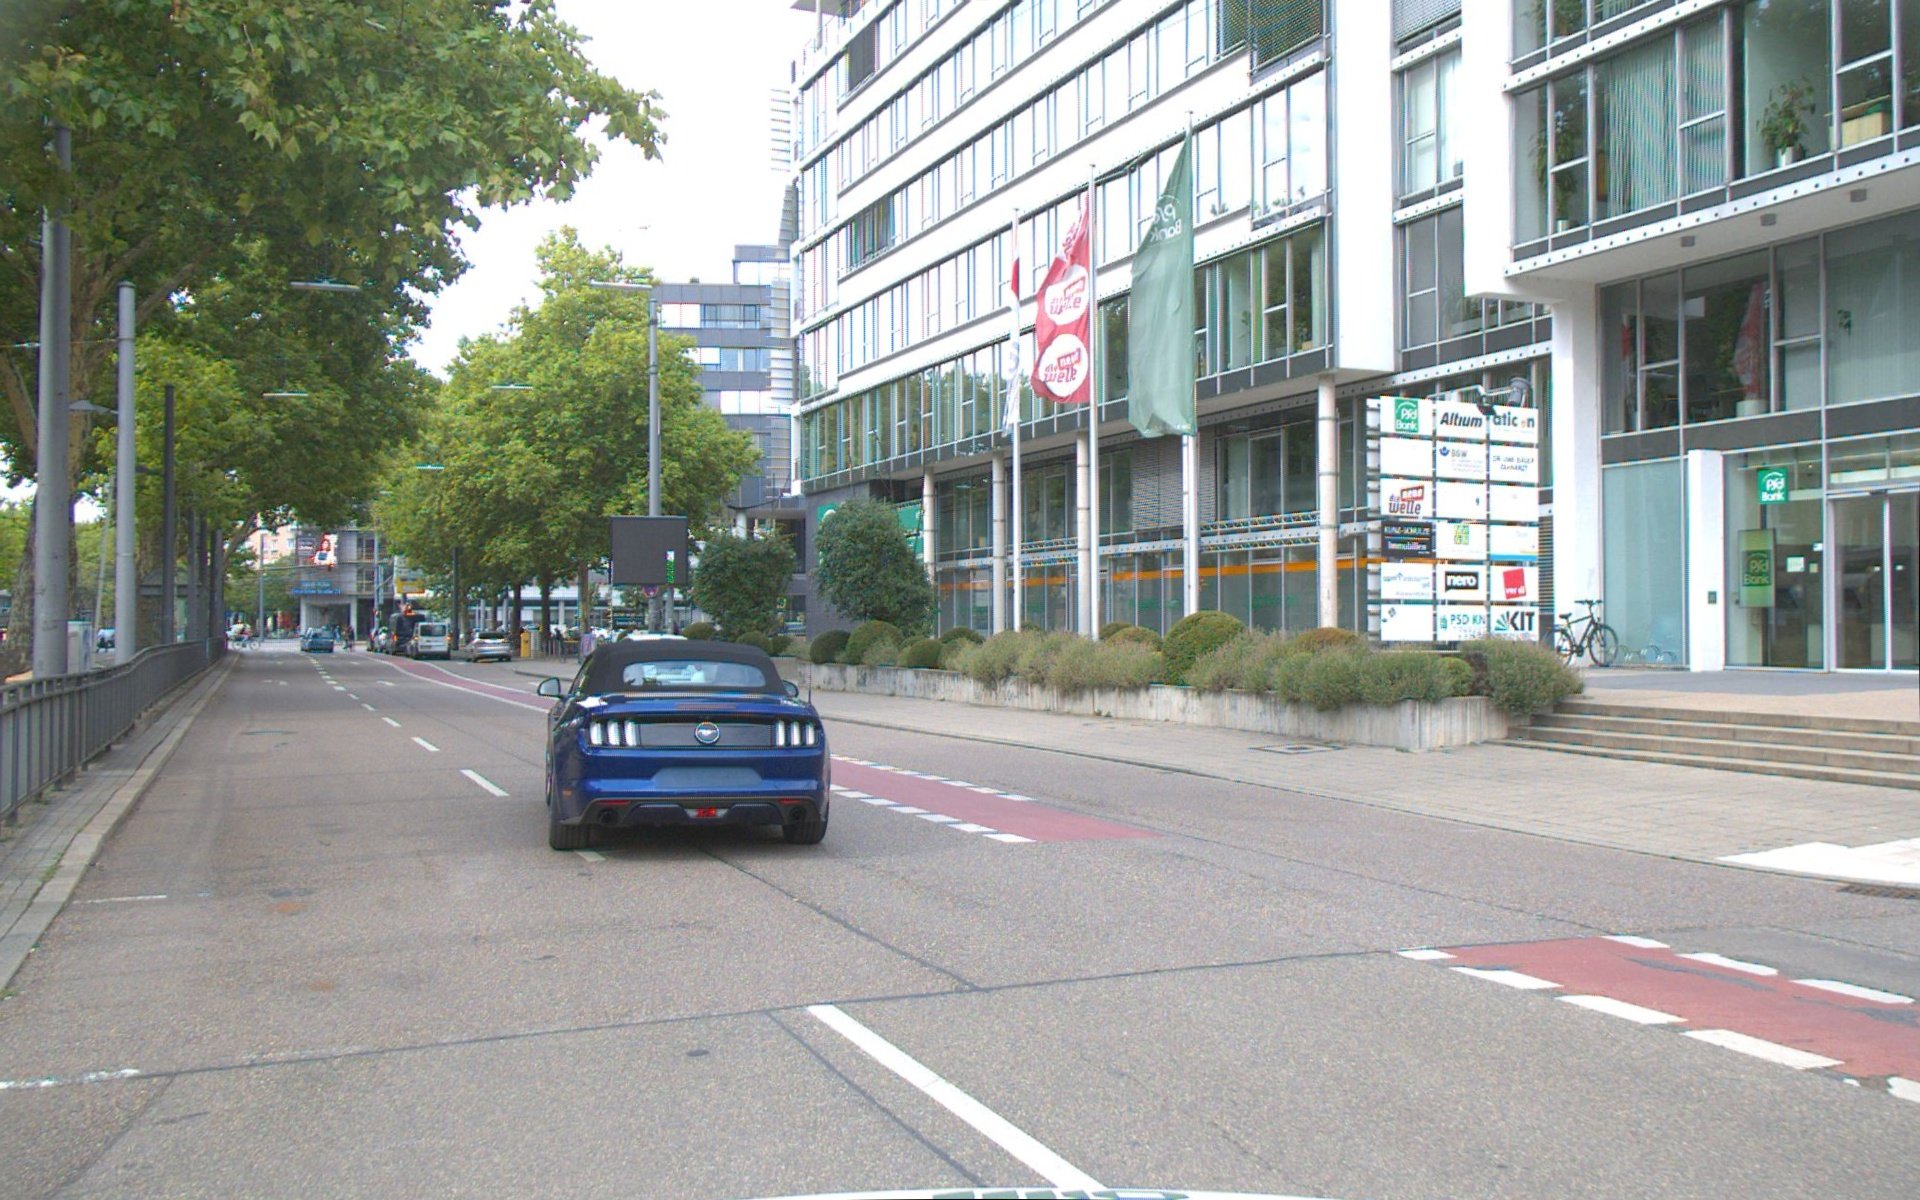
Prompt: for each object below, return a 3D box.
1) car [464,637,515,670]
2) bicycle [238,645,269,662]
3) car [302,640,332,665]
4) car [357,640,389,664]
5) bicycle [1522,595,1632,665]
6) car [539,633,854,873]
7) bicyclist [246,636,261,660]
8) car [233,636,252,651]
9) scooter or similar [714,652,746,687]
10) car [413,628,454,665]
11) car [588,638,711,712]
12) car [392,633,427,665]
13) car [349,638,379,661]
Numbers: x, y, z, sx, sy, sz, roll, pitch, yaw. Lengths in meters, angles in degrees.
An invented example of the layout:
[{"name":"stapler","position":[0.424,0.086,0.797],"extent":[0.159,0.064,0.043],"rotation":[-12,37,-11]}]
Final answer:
[{"name":"car","position":[-23.208,2.617,81.540],"extent":[1.855,1.610,4.292],"rotation":[1,-2,-24]},{"name":"bicycle","position":[-49.888,3.778,116.751],"extent":[1.991,1.105,0.664],"rotation":[0,-2,-24]},{"name":"car","position":[-42.222,3.426,108.595],"extent":[1.810,1.574,4.185],"rotation":[0,-2,-22]},{"name":"car","position":[-38.851,3.425,109.482],"extent":[1.810,1.547,4.147],"rotation":[0,-2,-22]},{"name":"bicycle","position":[10.755,0.523,28.800],"extent":[2.083,1.197,0.581],"rotation":[1,-1,-28]},{"name":"car","position":[-2.135,0.971,12.341],"extent":[1.845,1.429,4.263],"rotation":[0,-1,-16]},{"name":"bicyclist","position":[-49.891,3.388,116.764],"extent":[0.993,1.689,0.643],"rotation":[0,-2,-24]},{"name":"car","position":[-79.596,4.855,183.520],"extent":[1.810,1.547,4.147],"rotation":[0,-2,-22]},{"name":"scooter or similar","position":[-6.545,1.952,46.960],"extent":[0.578,0.967,1.850],"rotation":[0,-2,-18]},{"name":"car","position":[-28.594,2.525,89.765],"extent":[1.864,1.937,4.101],"rotation":[0,-2,-22]},{"name":"car","position":[-6.742,1.578,35.600],"extent":[1.810,1.464,4.158],"rotation":[0,-2,-22]},{"name":"car","position":[-33.751,3.003,101.332],"extent":[1.810,1.937,4.147],"rotation":[0,-2,-22]},{"name":"car","position":[-41.550,3.483,115.322],"extent":[1.810,1.547,4.147],"rotation":[0,-2,-22]}]
